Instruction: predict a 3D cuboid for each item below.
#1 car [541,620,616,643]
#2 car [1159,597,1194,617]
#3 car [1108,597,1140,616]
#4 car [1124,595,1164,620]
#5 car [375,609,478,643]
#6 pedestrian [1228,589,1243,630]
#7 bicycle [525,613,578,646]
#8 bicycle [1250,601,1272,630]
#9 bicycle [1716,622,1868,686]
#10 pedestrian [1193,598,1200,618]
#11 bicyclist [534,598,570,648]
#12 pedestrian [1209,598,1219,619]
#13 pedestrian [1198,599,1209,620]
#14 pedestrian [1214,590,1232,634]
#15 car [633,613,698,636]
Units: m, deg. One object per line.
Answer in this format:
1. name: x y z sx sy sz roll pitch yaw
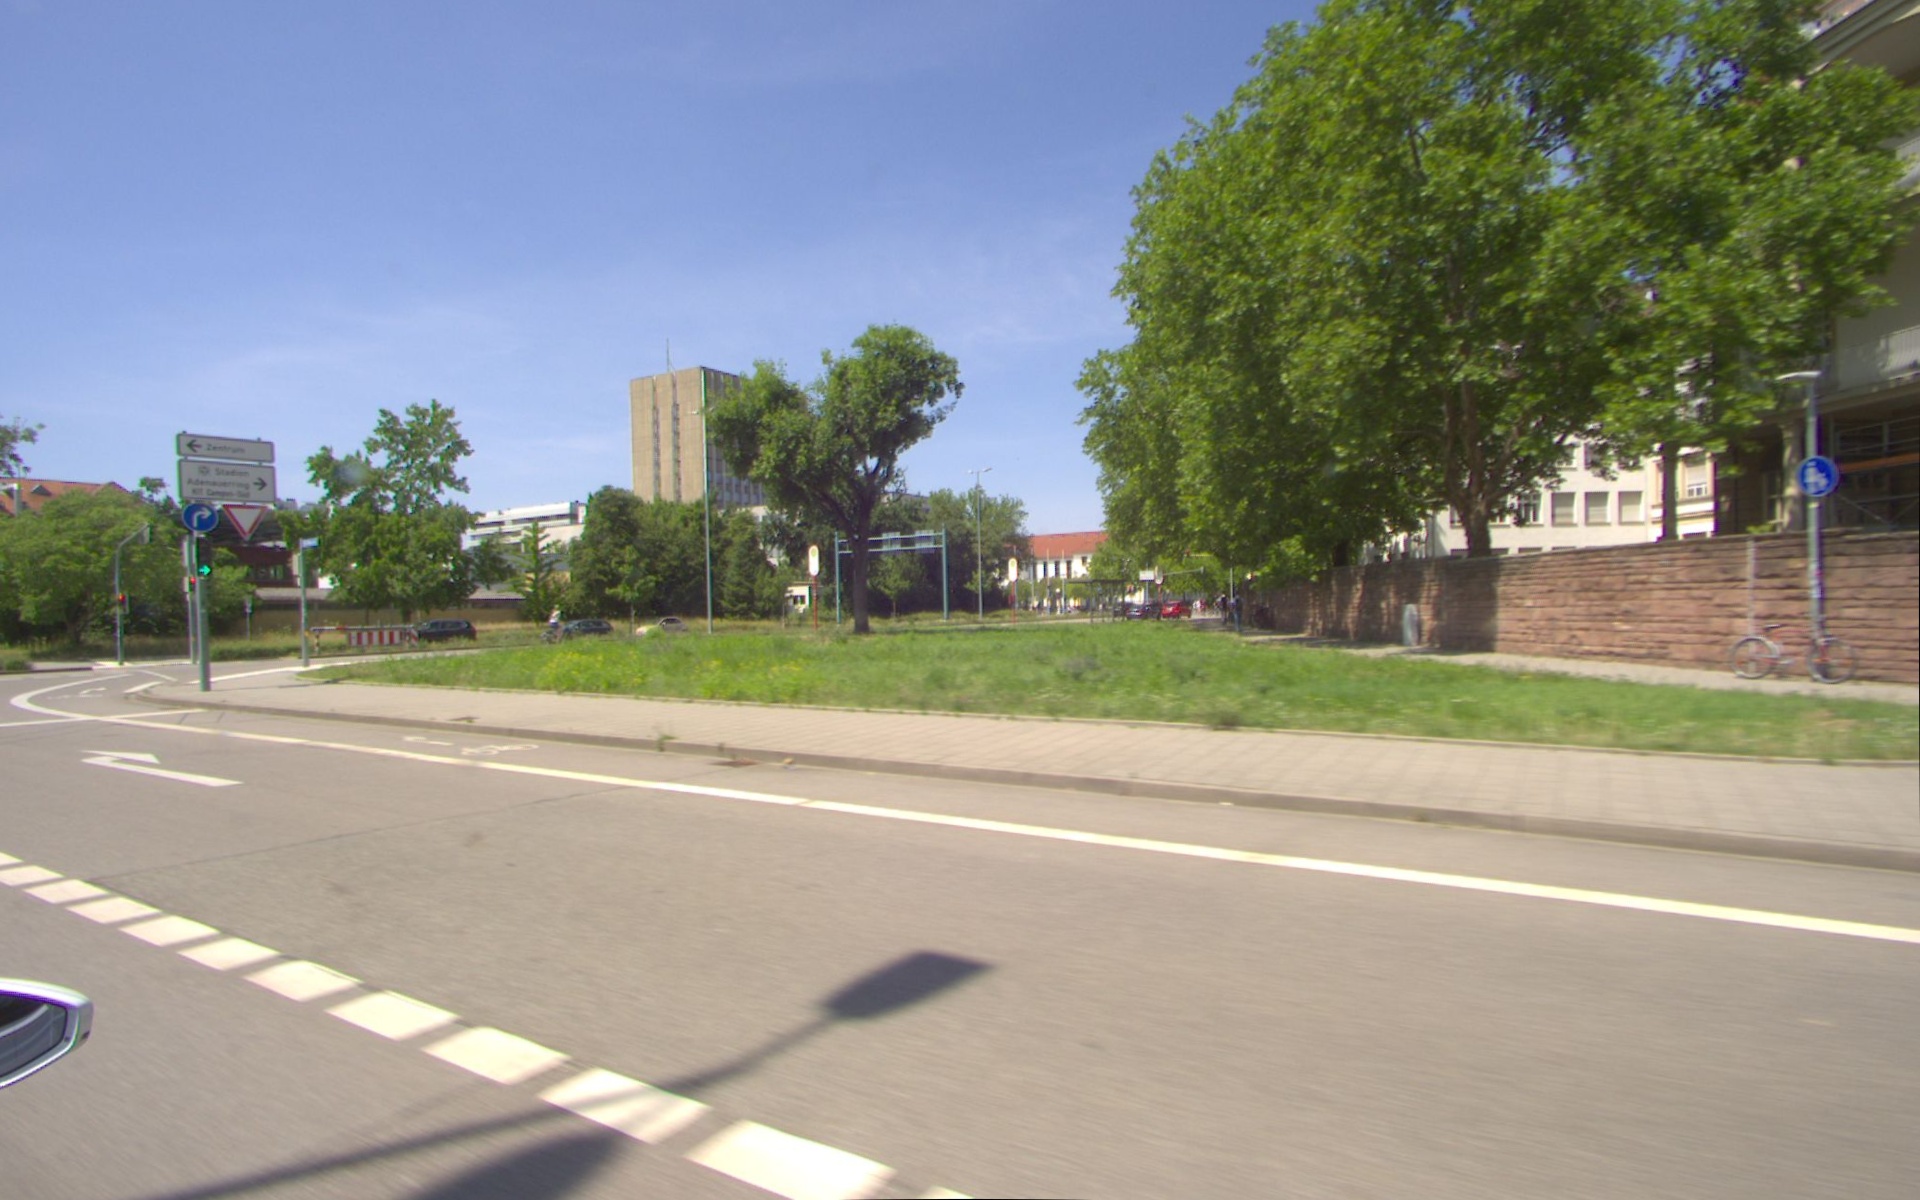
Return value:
1. car: -22.652 1.912 59.619 1.734 1.326 3.981 -1 -2 31
2. car: 20.041 0.677 92.690 1.758 1.705 3.976 -1 -2 35
3. car: 16.149 0.643 98.305 1.753 1.689 3.982 -1 -2 31
4. car: 16.141 0.697 87.538 1.972 2.039 4.192 -1 -2 33
5. car: -28.078 1.360 52.834 1.688 1.607 4.522 -1 0 38
6. pedestrian: 11.980 0.418 43.569 0.578 1.743 0.527 0 -1 8
7. bicycle: -15.960 1.175 39.173 0.512 1.253 2.186 -1 -2 24
8. bicycle: 12.936 0.697 43.126 0.449 1.197 2.170 0 -2 5
9. bicycle: 12.837 0.820 15.518 0.667 0.940 1.774 0 -2 -13
10. pedestrian: 23.554 0.798 99.832 0.542 2.039 0.533 -1 -1 34
11. bicyclist: -15.973 0.918 39.179 0.697 1.911 1.136 -1 -1 24
12. pedestrian: 25.449 0.849 100.303 0.778 2.039 0.836 -1 -1 33
13. pedestrian: 24.348 0.974 100.242 0.778 2.039 0.959 -1 -2 34
14. pedestrian: 14.041 0.657 53.484 0.833 2.320 1.075 0 -1 8
15. car: -19.244 1.645 65.642 1.734 1.457 3.981 -1 -2 31
